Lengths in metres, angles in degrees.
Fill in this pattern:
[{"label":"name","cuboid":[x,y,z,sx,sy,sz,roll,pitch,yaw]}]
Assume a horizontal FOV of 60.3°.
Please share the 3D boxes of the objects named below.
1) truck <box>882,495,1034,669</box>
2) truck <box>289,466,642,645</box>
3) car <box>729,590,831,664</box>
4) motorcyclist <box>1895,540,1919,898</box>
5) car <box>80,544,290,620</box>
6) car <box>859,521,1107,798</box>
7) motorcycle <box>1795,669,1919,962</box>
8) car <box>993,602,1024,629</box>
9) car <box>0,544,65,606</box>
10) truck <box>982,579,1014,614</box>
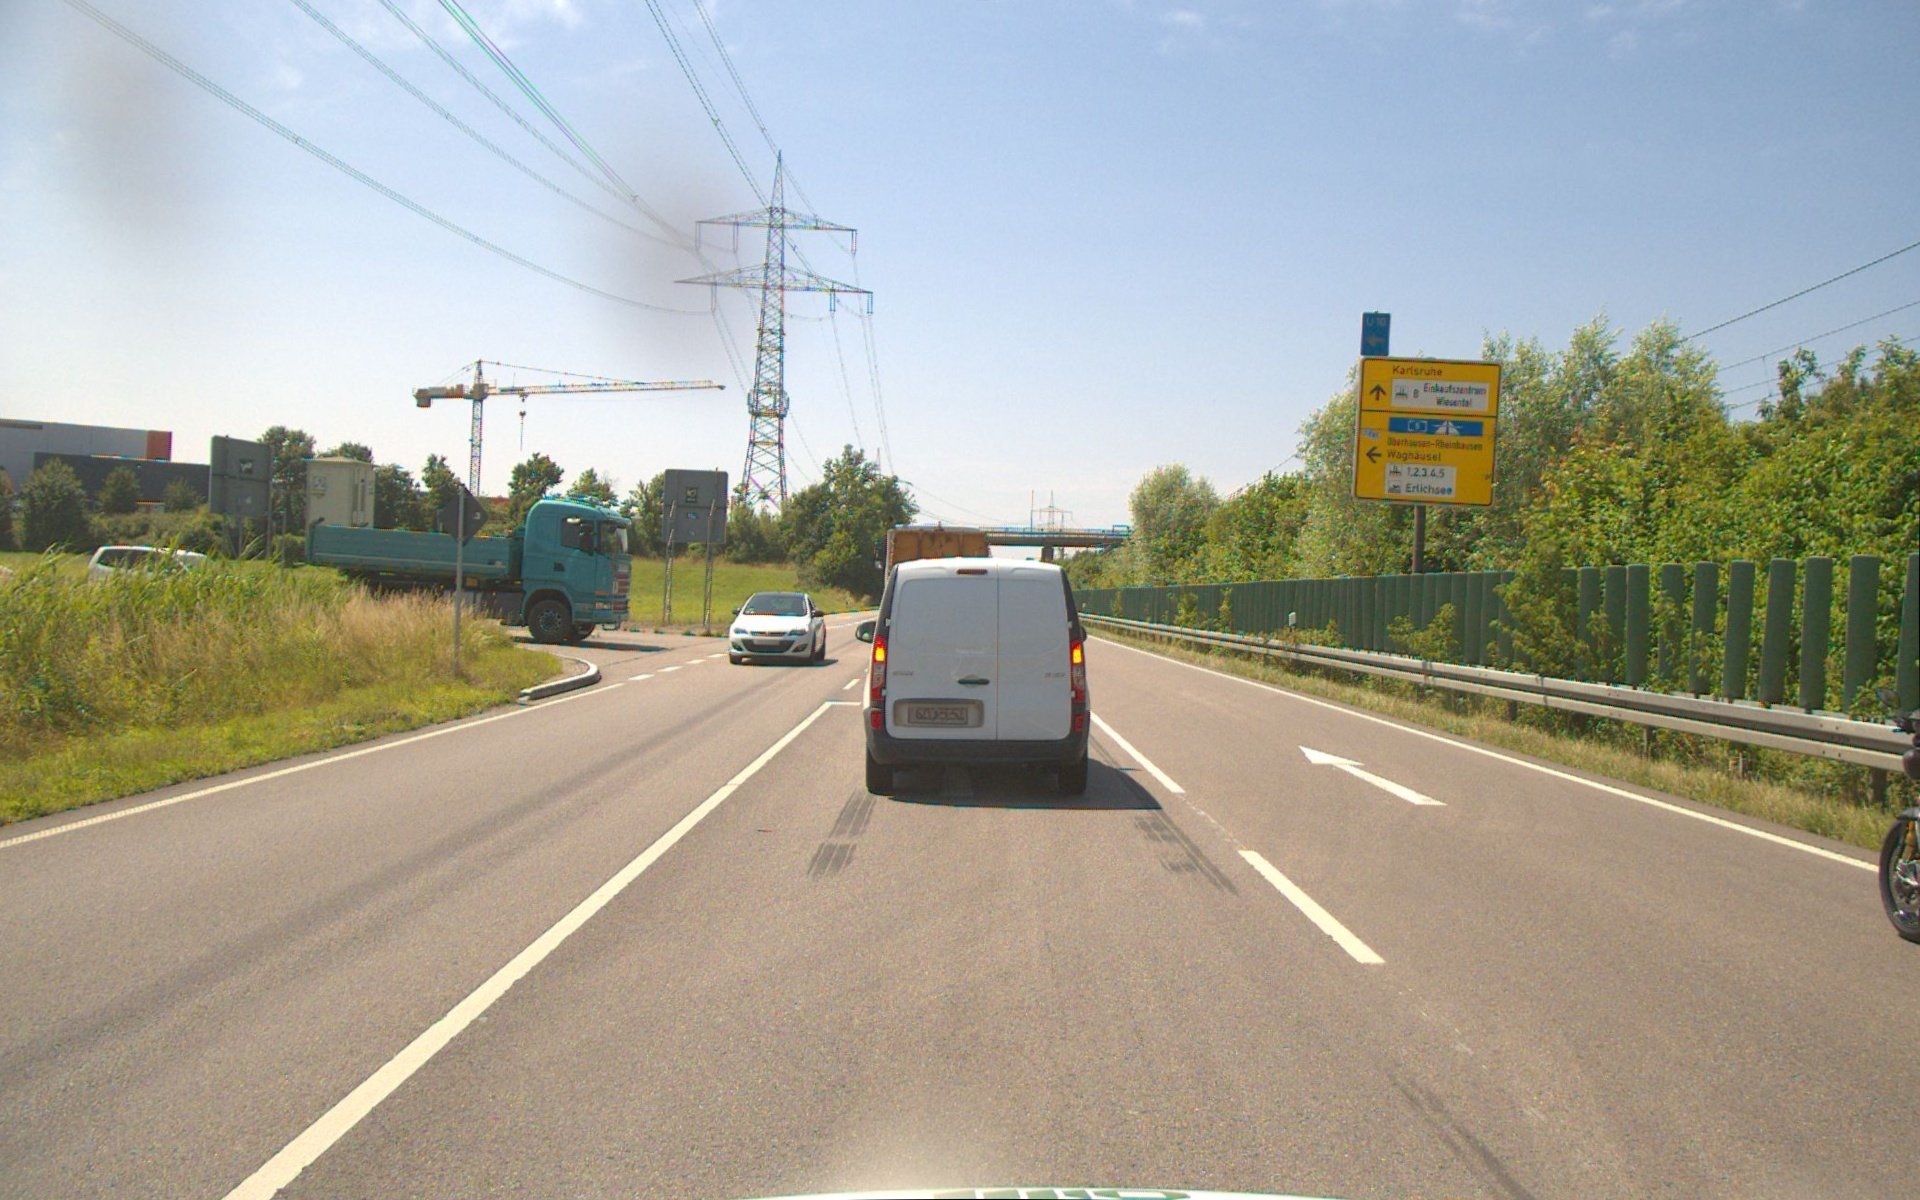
[{"label":"truck","cuboid":[-0.264,-0.436,37.287,2.764,3.345,9.694,1,1,-4]},{"label":"truck","cuboid":[-12.078,-1.079,40.773,7.741,3.799,2.499,4,0,2]},{"label":"car","cuboid":[-3.820,0.534,35.646,1.689,1.466,4.249,1,0,0]},{"label":"motorcyclist","cuboid":[4.474,0.505,6.624,0.871,1.502,1.002,1,0,-1]},{"label":"car","cuboid":[-19.254,-0.434,41.132,4.445,1.640,1.969,3,0,15]},{"label":"car","cuboid":[0.164,0.429,14.100,1.789,2.005,4.000,1,0,0]},{"label":"motorcycle","cuboid":[4.413,0.935,6.961,0.774,1.178,1.901,2,0,-1]},{"label":"car","cuboid":[3.002,0.929,103.155,1.810,1.601,4.000,1,0,0]},{"label":"car","cuboid":[-25.270,-0.703,41.991,4.337,1.496,1.720,3,0,11]},{"label":"truck","cuboid":[3.120,-0.280,138.217,2.326,2.736,8.009,2,0,0]}]
